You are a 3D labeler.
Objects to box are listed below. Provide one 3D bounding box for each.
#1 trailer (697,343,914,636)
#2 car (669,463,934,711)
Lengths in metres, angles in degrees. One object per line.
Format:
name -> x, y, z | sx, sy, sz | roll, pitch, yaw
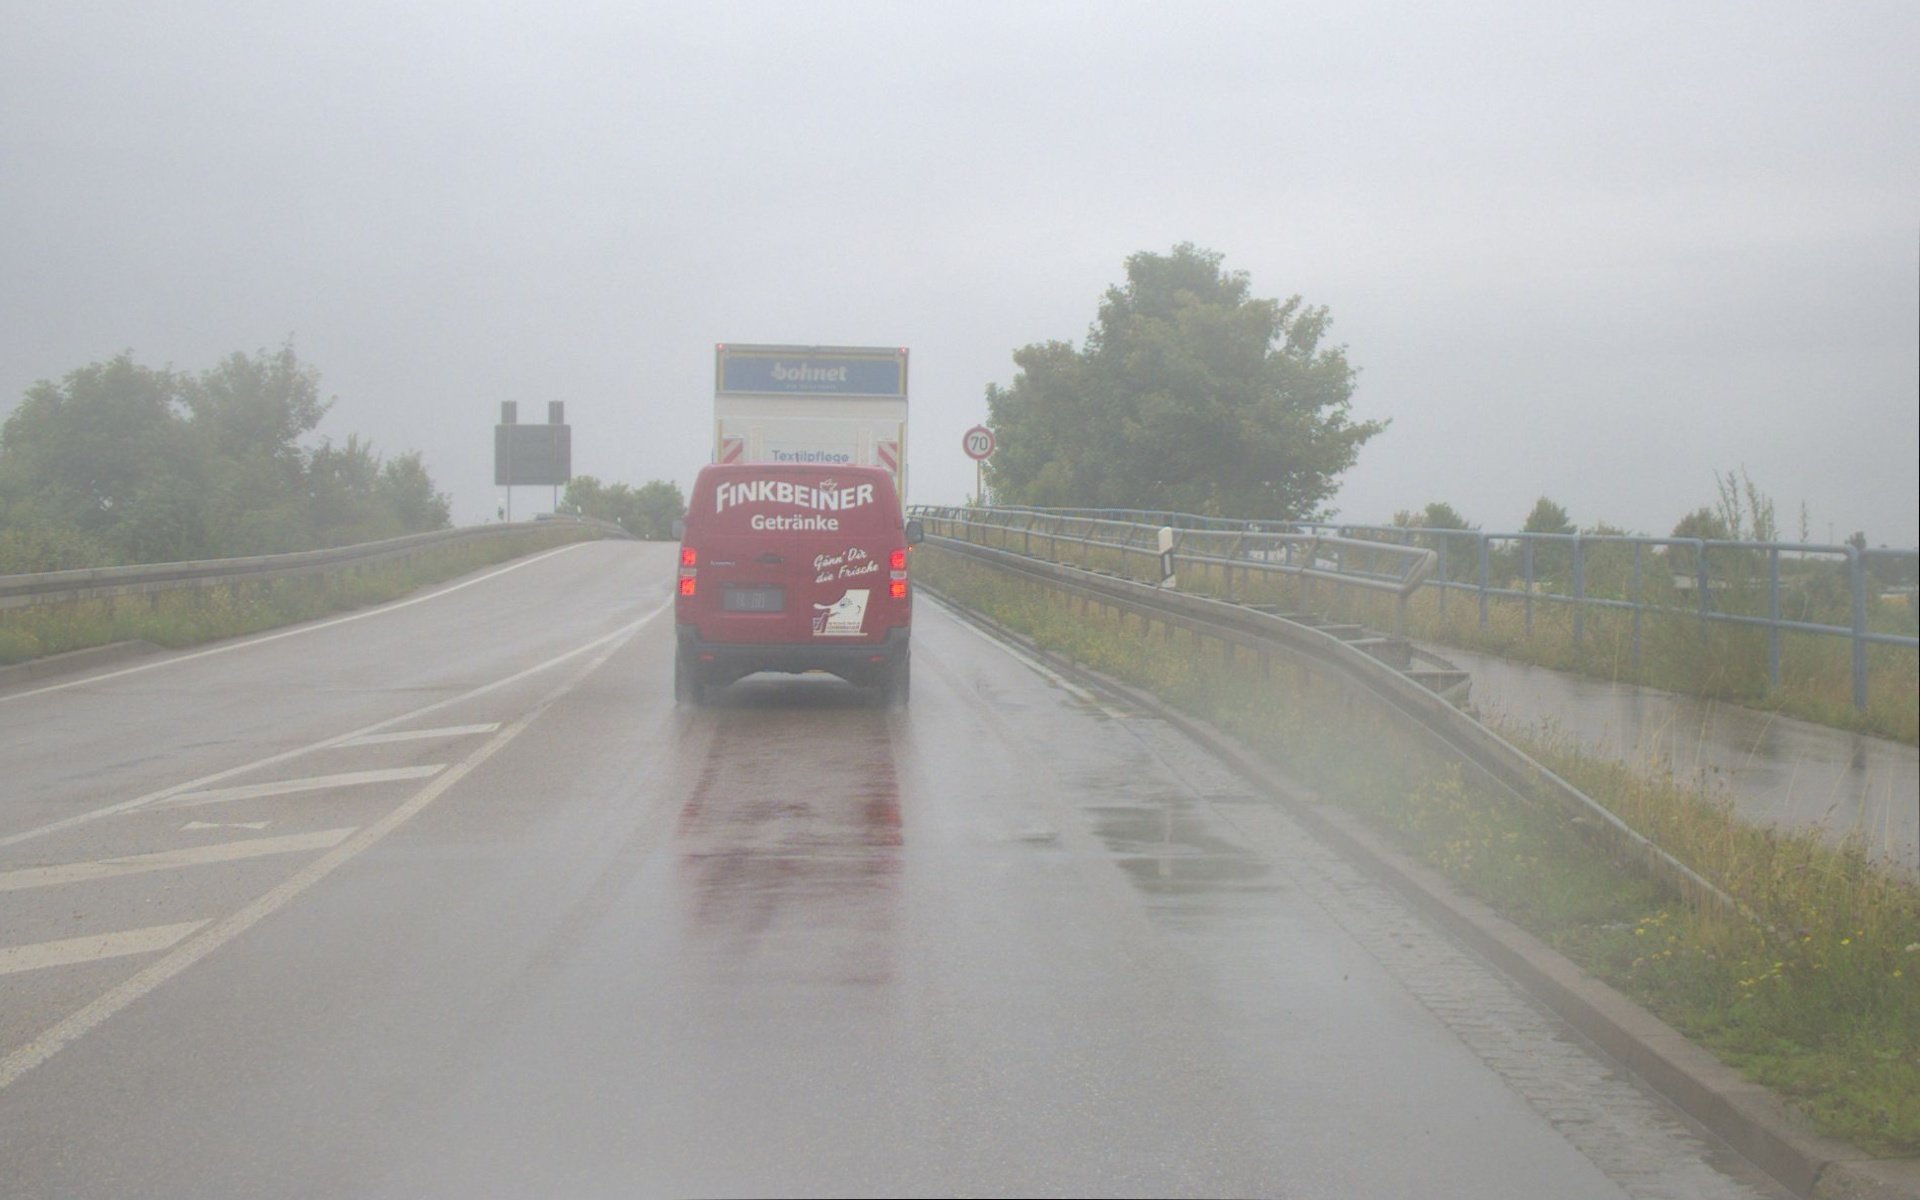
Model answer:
trailer -> -2.177, -1.516, 49.607 | 2.832, 3.806, 9.716 | 0, 1, -2
car -> -1.223, -0.164, 28.620 | 1.993, 1.864, 4.979 | 0, 1, 0
